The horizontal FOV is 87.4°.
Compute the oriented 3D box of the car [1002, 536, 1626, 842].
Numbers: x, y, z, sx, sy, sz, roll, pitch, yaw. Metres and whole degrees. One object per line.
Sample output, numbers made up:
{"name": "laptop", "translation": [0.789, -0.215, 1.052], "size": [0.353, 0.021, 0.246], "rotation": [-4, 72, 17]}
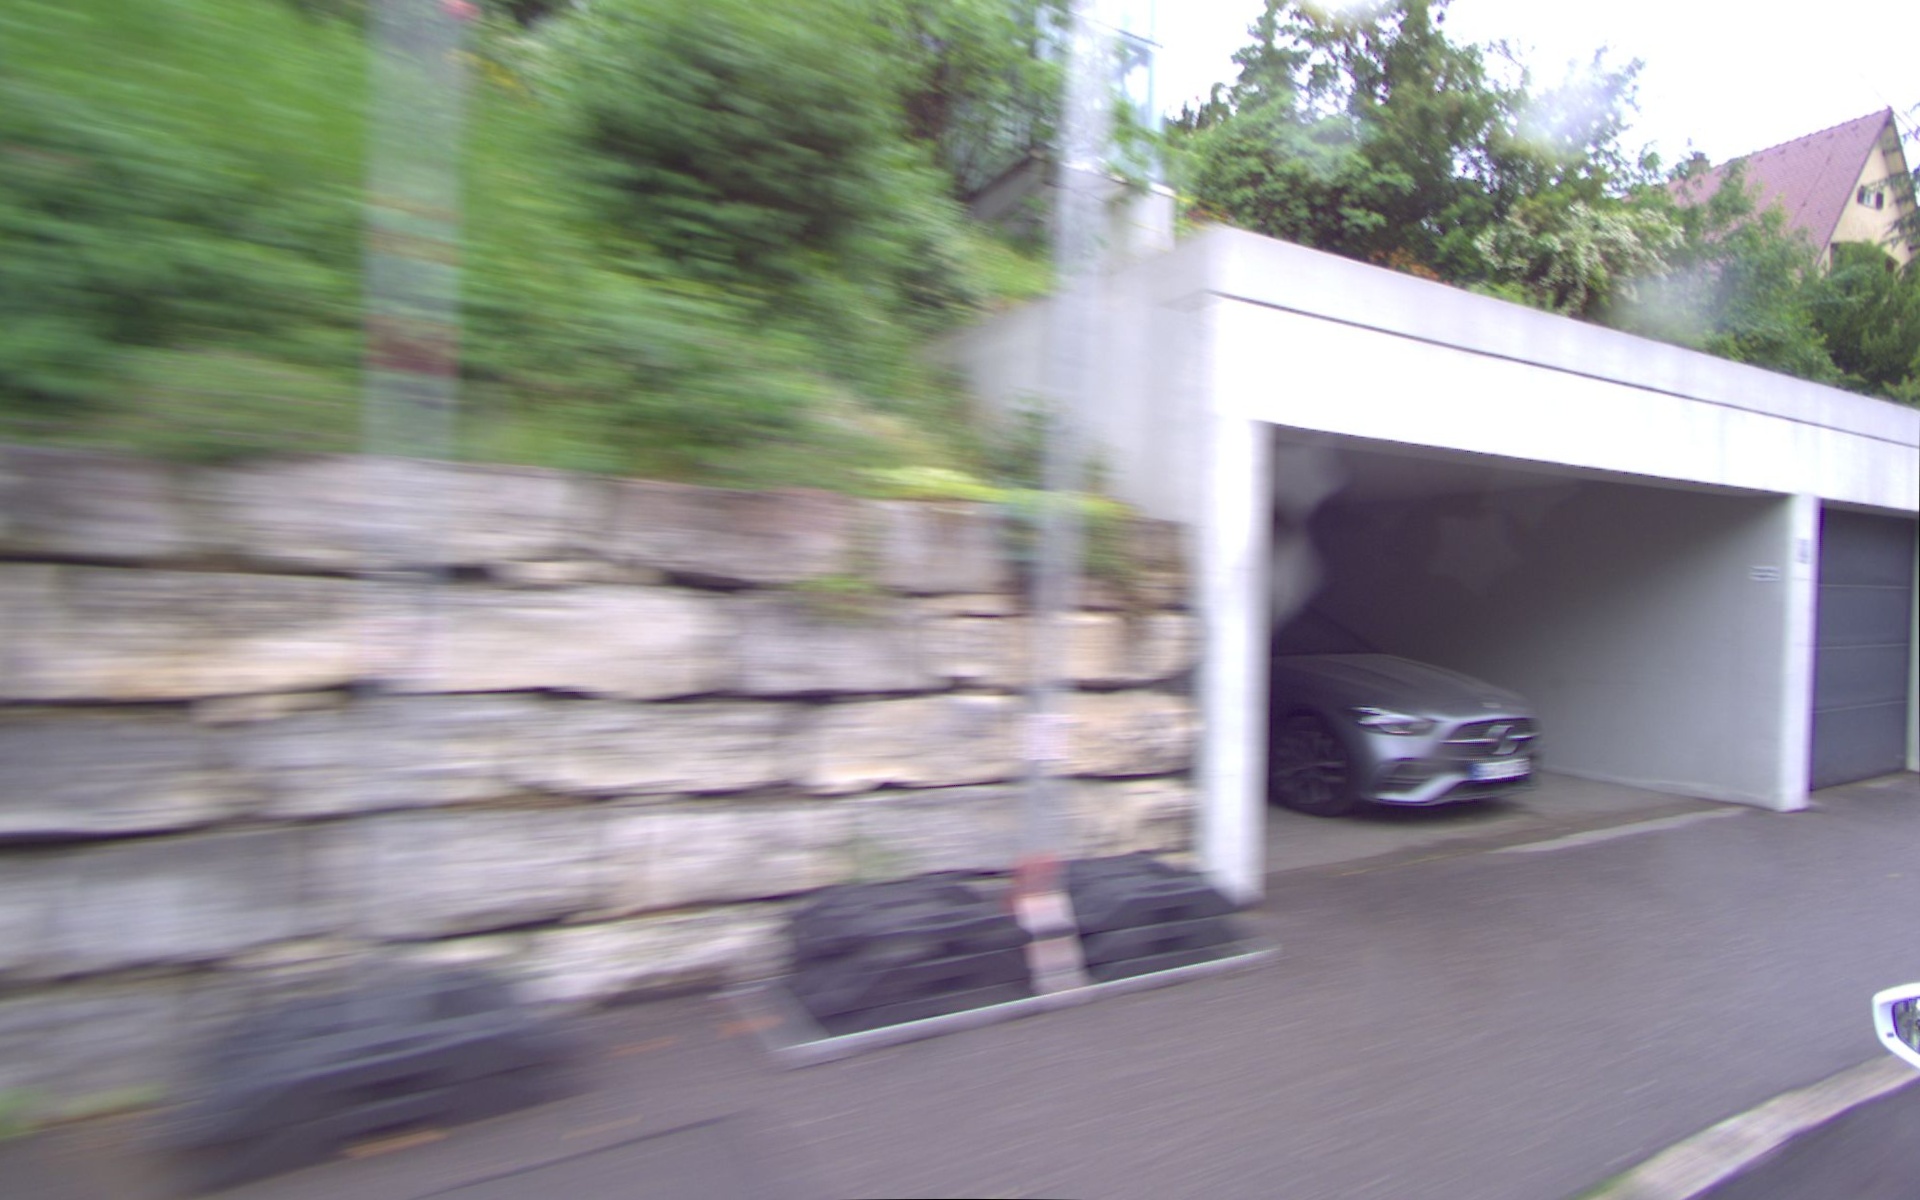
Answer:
{"name": "car", "translation": [2.422, 0.423, 8.095], "size": [2.086, 1.729, 4.379], "rotation": [2, 2, -30]}

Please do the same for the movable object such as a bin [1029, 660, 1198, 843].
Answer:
{"name": "movable object such as a bin", "translation": [0.882, 0.842, 5.850], "size": [0.649, 0.916, 0.679], "rotation": [2, 2, -30]}
